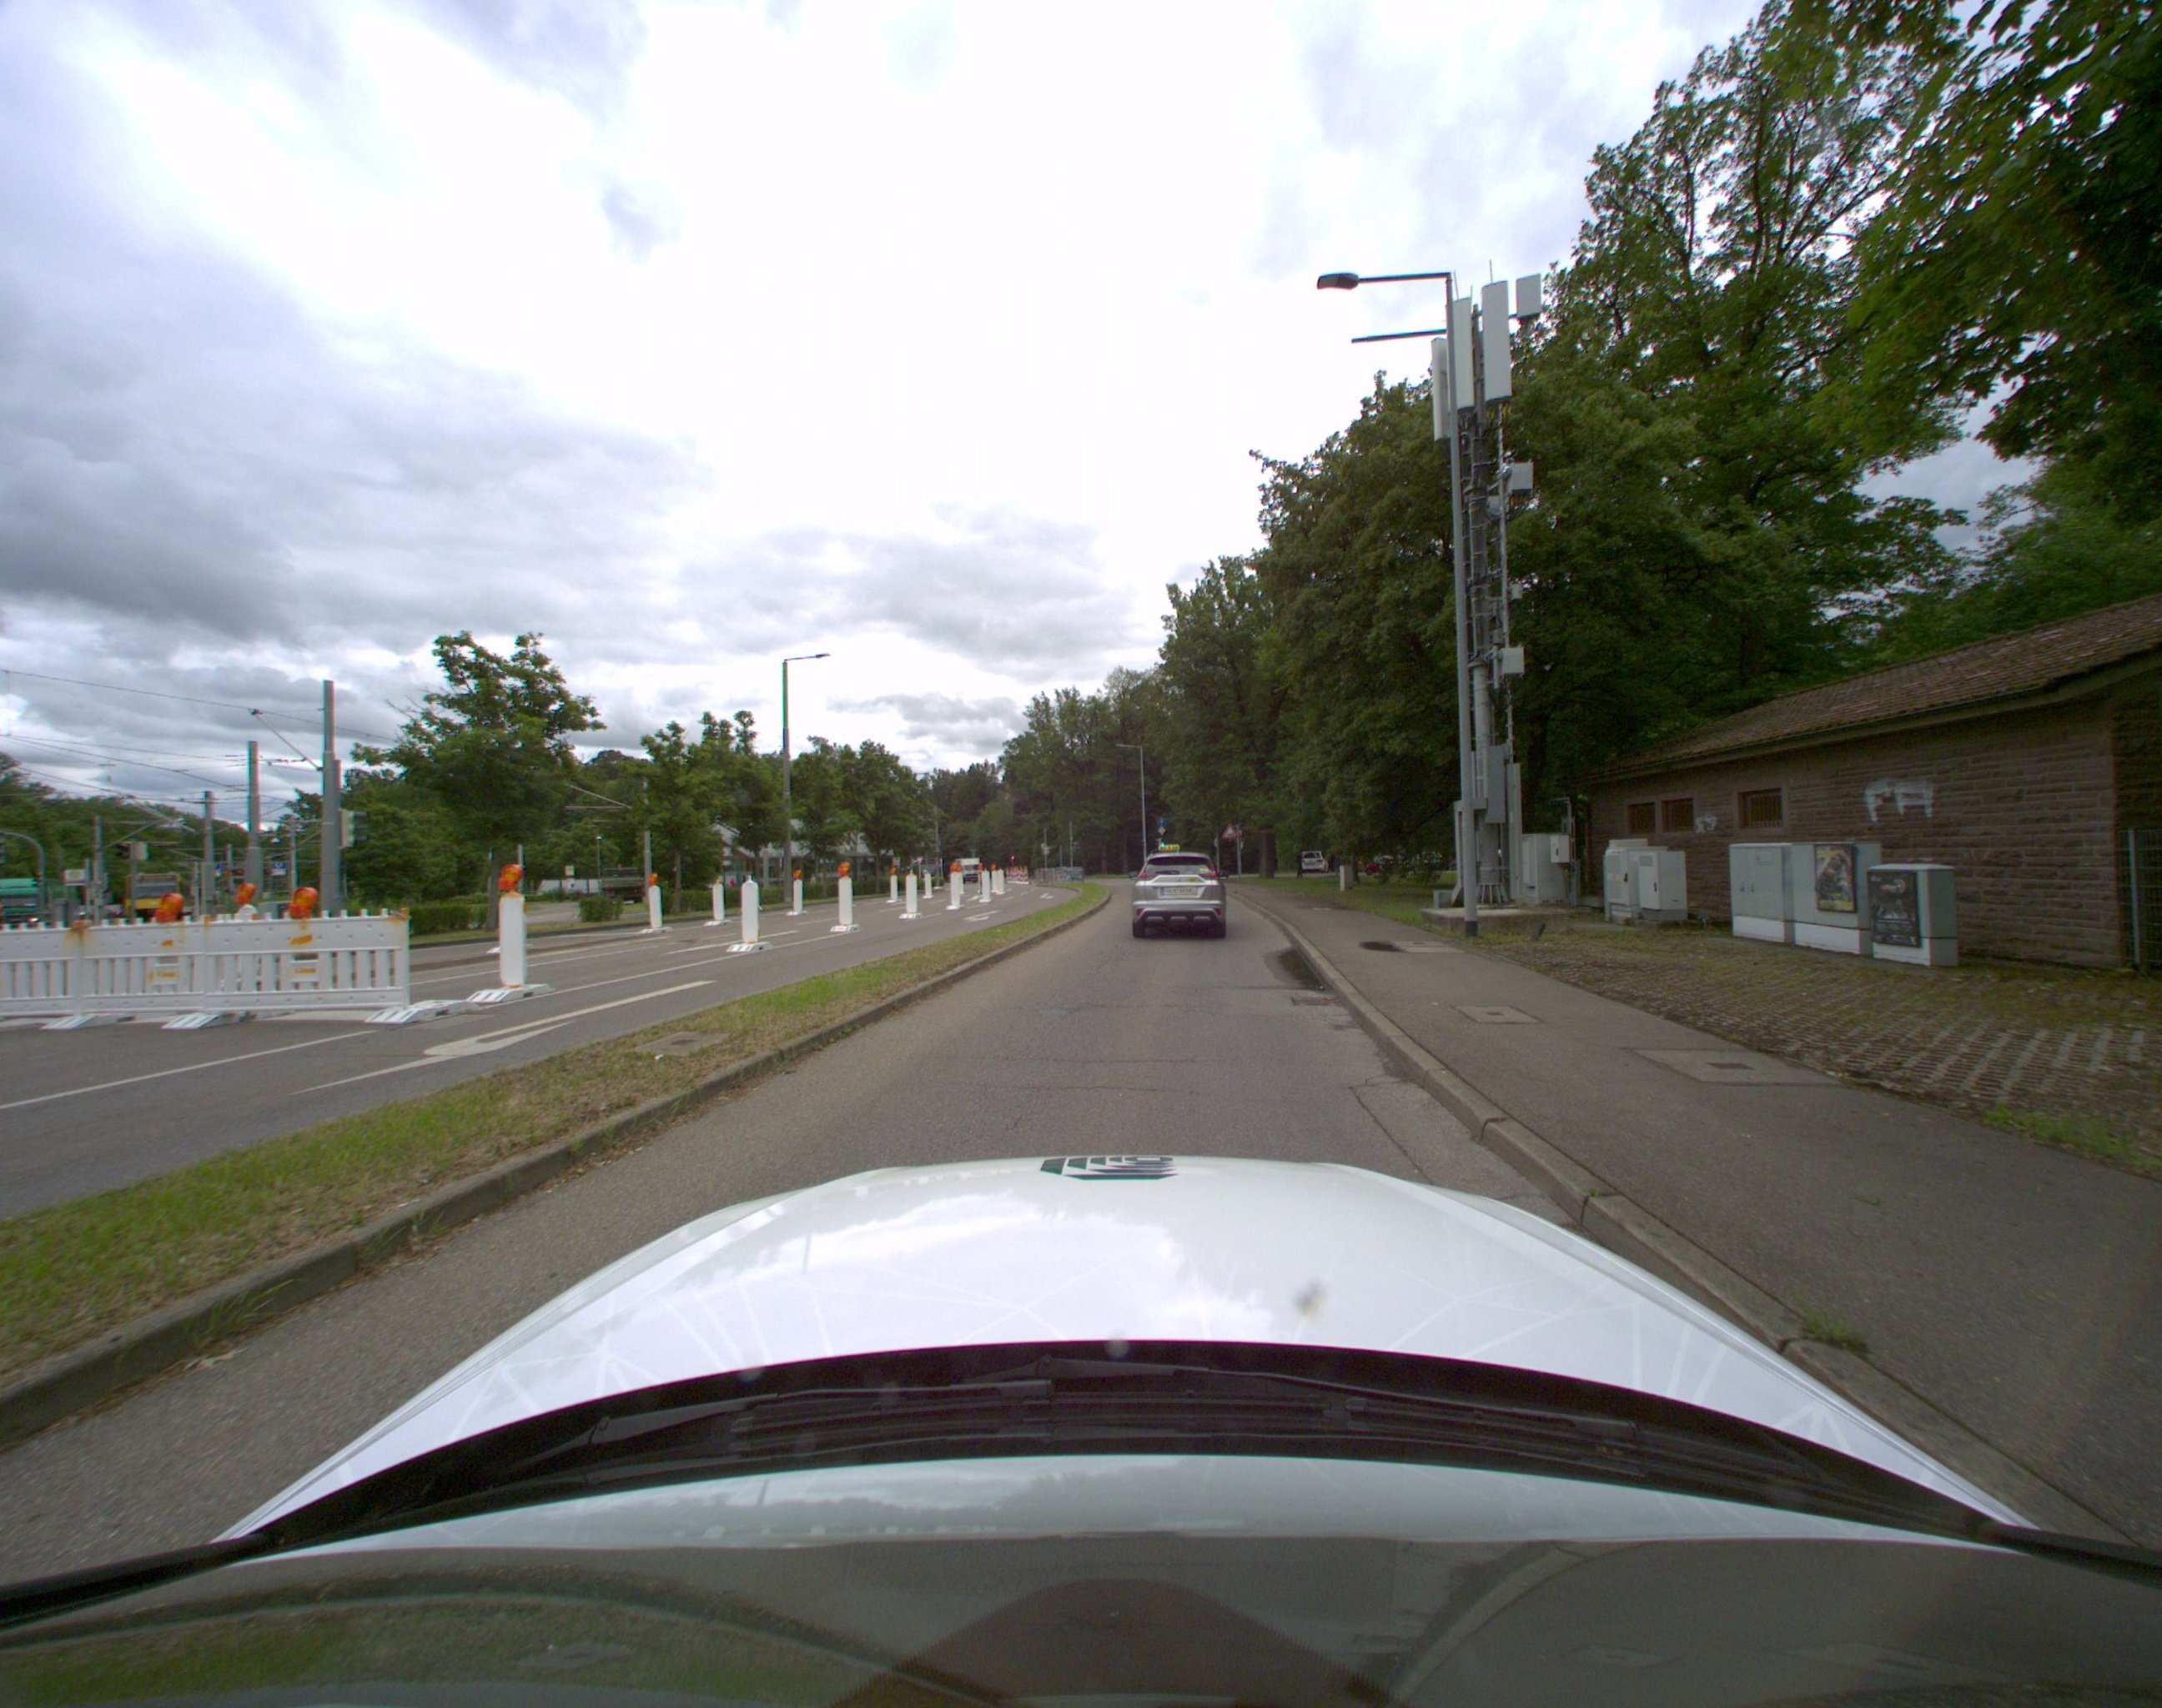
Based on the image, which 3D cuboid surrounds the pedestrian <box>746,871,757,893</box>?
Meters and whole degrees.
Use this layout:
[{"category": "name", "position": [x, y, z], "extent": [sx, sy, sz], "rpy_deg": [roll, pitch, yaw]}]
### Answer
[{"category": "pedestrian", "position": [-25.315, 2.155, 62.556], "extent": [0.554, 1.625, 0.495], "rpy_deg": [-2, -1, 42]}]

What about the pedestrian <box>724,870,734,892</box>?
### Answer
[{"category": "pedestrian", "position": [-26.350, 2.035, 60.989], "extent": [0.554, 1.625, 0.495], "rpy_deg": [-2, -1, 42]}]

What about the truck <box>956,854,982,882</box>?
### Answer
[{"category": "truck", "position": [-14.492, 1.809, 105.213], "extent": [2.486, 3.287, 8.481], "rpy_deg": [-2, -1, -13]}]

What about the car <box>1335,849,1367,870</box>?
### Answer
[{"category": "car", "position": [18.778, 0.353, 56.484], "extent": [1.818, 1.326, 4.022], "rpy_deg": [-2, 0, 22]}]

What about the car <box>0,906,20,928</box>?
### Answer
[{"category": "car", "position": [-71.504, 4.186, 53.011], "extent": [1.978, 1.361, 4.260], "rpy_deg": [-2, -1, -39]}]

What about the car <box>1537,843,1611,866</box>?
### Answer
[{"category": "car", "position": [31.934, 0.046, 52.772], "extent": [3.799, 1.326, 1.561], "rpy_deg": [-2, 0, 1]}]

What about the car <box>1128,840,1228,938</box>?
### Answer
[{"category": "car", "position": [2.056, 0.685, 16.541], "extent": [1.763, 1.748, 3.790], "rpy_deg": [-1, -2, 9]}]

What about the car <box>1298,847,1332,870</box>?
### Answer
[{"category": "car", "position": [16.488, 0.316, 57.246], "extent": [1.818, 1.536, 4.022], "rpy_deg": [-2, 0, 22]}]

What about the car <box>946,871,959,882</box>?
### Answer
[{"category": "car", "position": [-18.494, 3.209, 117.195], "extent": [1.558, 1.529, 3.807], "rpy_deg": [-2, 0, -14]}]

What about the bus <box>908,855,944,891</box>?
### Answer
[{"category": "bus", "position": [-17.337, 2.087, 90.547], "extent": [2.827, 3.603, 12.734], "rpy_deg": [-2, 0, -16]}]

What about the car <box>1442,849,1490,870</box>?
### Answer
[{"category": "car", "position": [26.079, 0.354, 55.327], "extent": [1.550, 1.326, 3.828], "rpy_deg": [-2, 0, 2]}]

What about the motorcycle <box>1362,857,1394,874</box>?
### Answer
[{"category": "motorcycle", "position": [18.604, 0.714, 51.026], "extent": [1.813, 1.057, 0.618], "rpy_deg": [-2, 0, 16]}]

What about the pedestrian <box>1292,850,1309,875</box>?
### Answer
[{"category": "pedestrian", "position": [13.456, 0.508, 49.910], "extent": [0.833, 1.506, 0.794], "rpy_deg": [-2, -1, 21]}]
